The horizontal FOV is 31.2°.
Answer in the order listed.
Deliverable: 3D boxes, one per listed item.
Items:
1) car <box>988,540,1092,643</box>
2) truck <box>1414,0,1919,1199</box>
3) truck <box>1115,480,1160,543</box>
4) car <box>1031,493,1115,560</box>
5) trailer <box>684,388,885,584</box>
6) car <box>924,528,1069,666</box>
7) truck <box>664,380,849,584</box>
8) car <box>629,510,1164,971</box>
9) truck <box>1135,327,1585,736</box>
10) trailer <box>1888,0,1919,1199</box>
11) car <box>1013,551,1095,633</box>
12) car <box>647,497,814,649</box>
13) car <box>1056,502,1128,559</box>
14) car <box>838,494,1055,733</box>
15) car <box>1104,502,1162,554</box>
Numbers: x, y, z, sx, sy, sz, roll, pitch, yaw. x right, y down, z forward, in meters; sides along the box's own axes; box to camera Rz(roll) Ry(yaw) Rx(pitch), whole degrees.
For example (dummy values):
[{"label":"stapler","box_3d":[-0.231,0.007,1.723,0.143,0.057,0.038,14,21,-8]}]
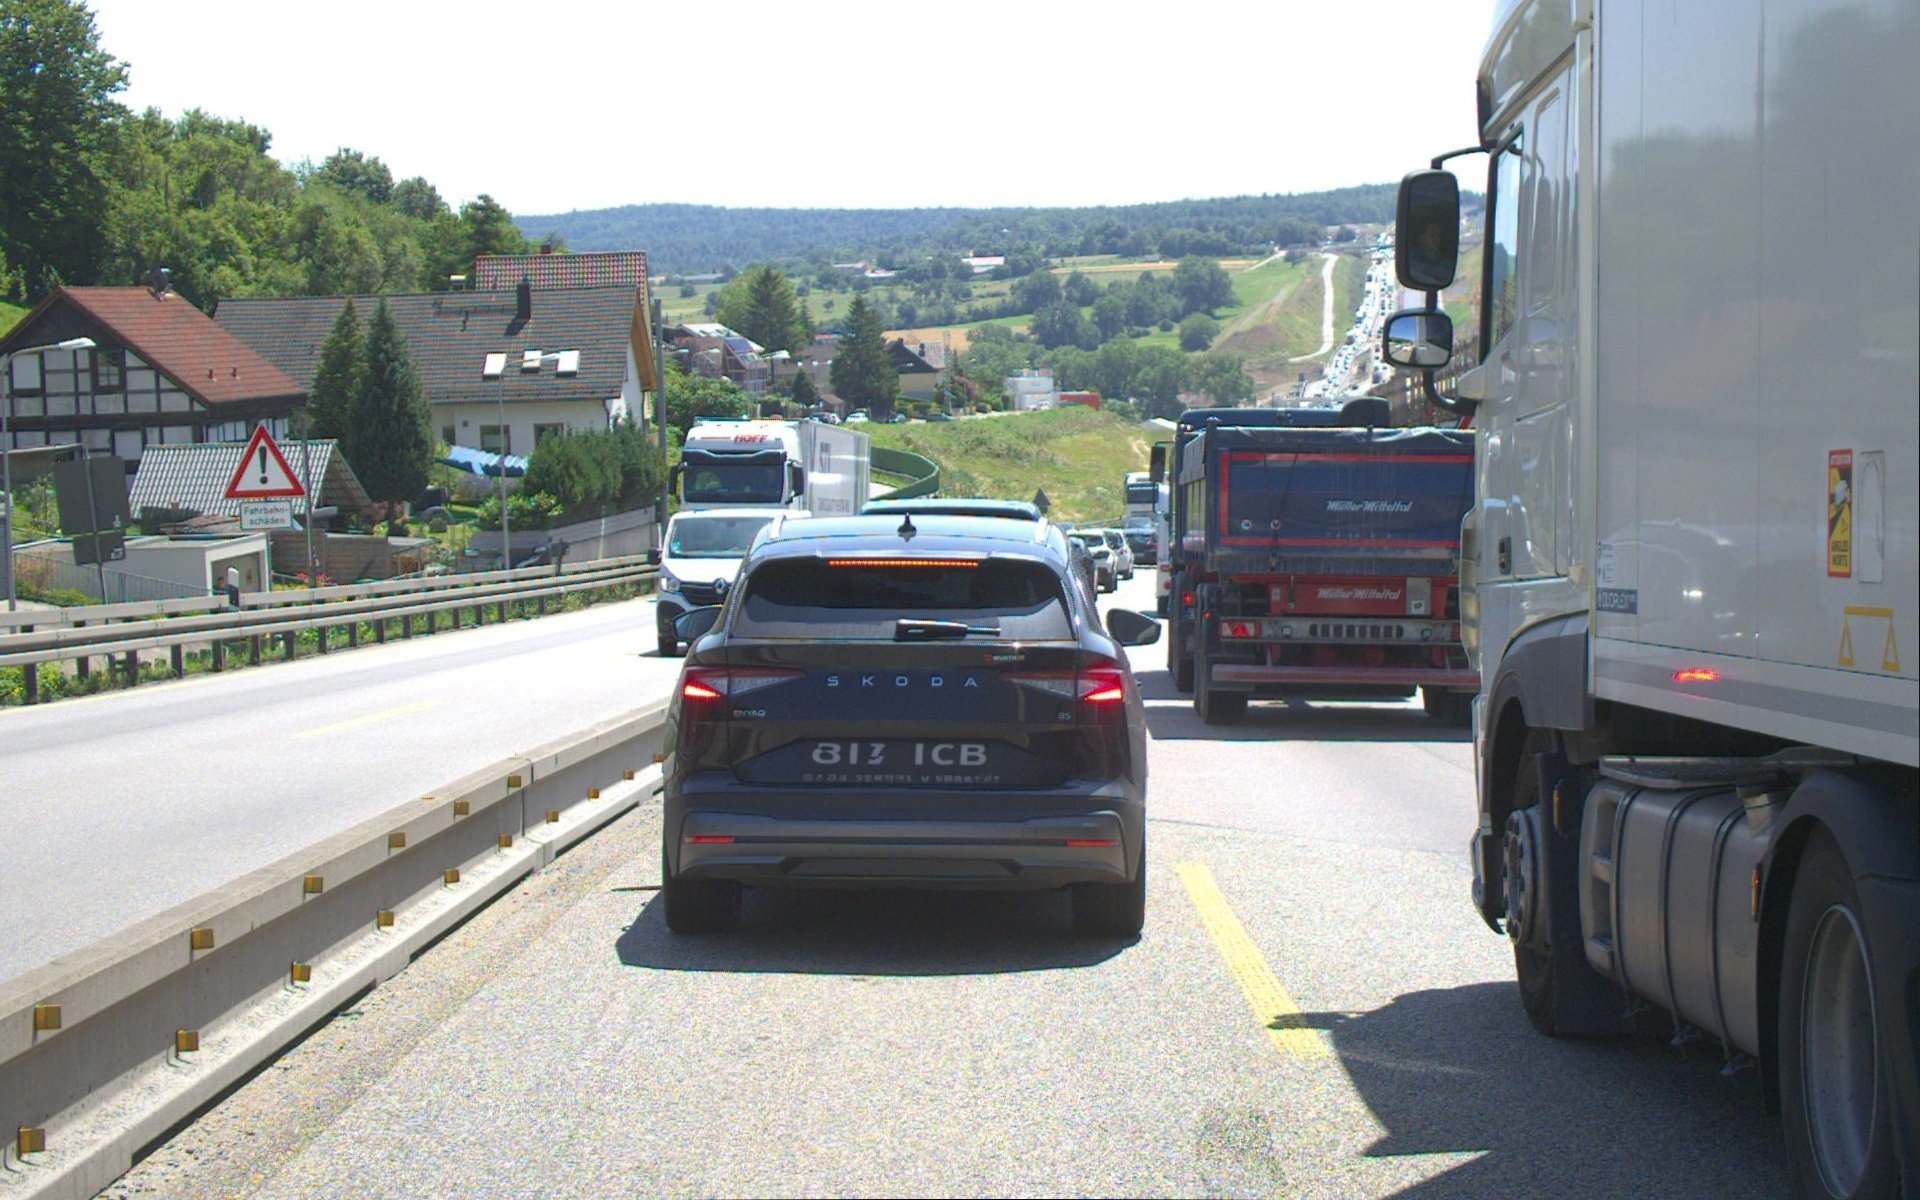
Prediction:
[{"label":"car","box_3d":[1.417,-0.181,59.574,1.707,1.616,4.000,1,2,2]},{"label":"truck","box_3d":[2.910,-0.622,7.942,2.513,4.011,8.238,1,0,0]},{"label":"truck","box_3d":[12.216,-6.071,236.113,2.752,4.268,4.956,1,2,5]},{"label":"car","box_3d":[2.863,-1.816,86.109,1.994,1.579,3.836,1,0,3]},{"label":"trailer","box_3d":[-4.129,-2.633,84.617,3.252,4.363,14.057,1,0,4]},{"label":"car","box_3d":[0.432,-0.078,44.767,1.707,1.616,4.001,1,2,-2]},{"label":"truck","box_3d":[-4.529,-2.589,78.405,3.303,4.347,8.301,1,0,2]},{"label":"car","box_3d":[-0.273,0.477,14.000,1.842,1.581,3.908,1,0,-2]},{"label":"truck","box_3d":[3.470,-0.595,33.437,3.195,3.180,12.808,1,0,2]},{"label":"trailer","box_3d":[2.946,-0.558,0.166,2.532,4.113,11.548,1,0,0]},{"label":"car","box_3d":[2.065,-0.194,75.258,1.707,1.616,4.000,1,2,2]},{"label":"car","box_3d":[-3.142,-0.379,47.946,1.993,2.004,4.858,0,0,0]},{"label":"car","box_3d":[3.859,-1.997,99.970,1.994,1.579,3.836,1,0,3]},{"label":"car","box_3d":[-0.160,0.049,29.698,1.707,1.875,4.001,1,2,-2]},{"label":"car","box_3d":[5.937,-2.450,117.789,1.701,1.722,3.835,1,0,7]}]
